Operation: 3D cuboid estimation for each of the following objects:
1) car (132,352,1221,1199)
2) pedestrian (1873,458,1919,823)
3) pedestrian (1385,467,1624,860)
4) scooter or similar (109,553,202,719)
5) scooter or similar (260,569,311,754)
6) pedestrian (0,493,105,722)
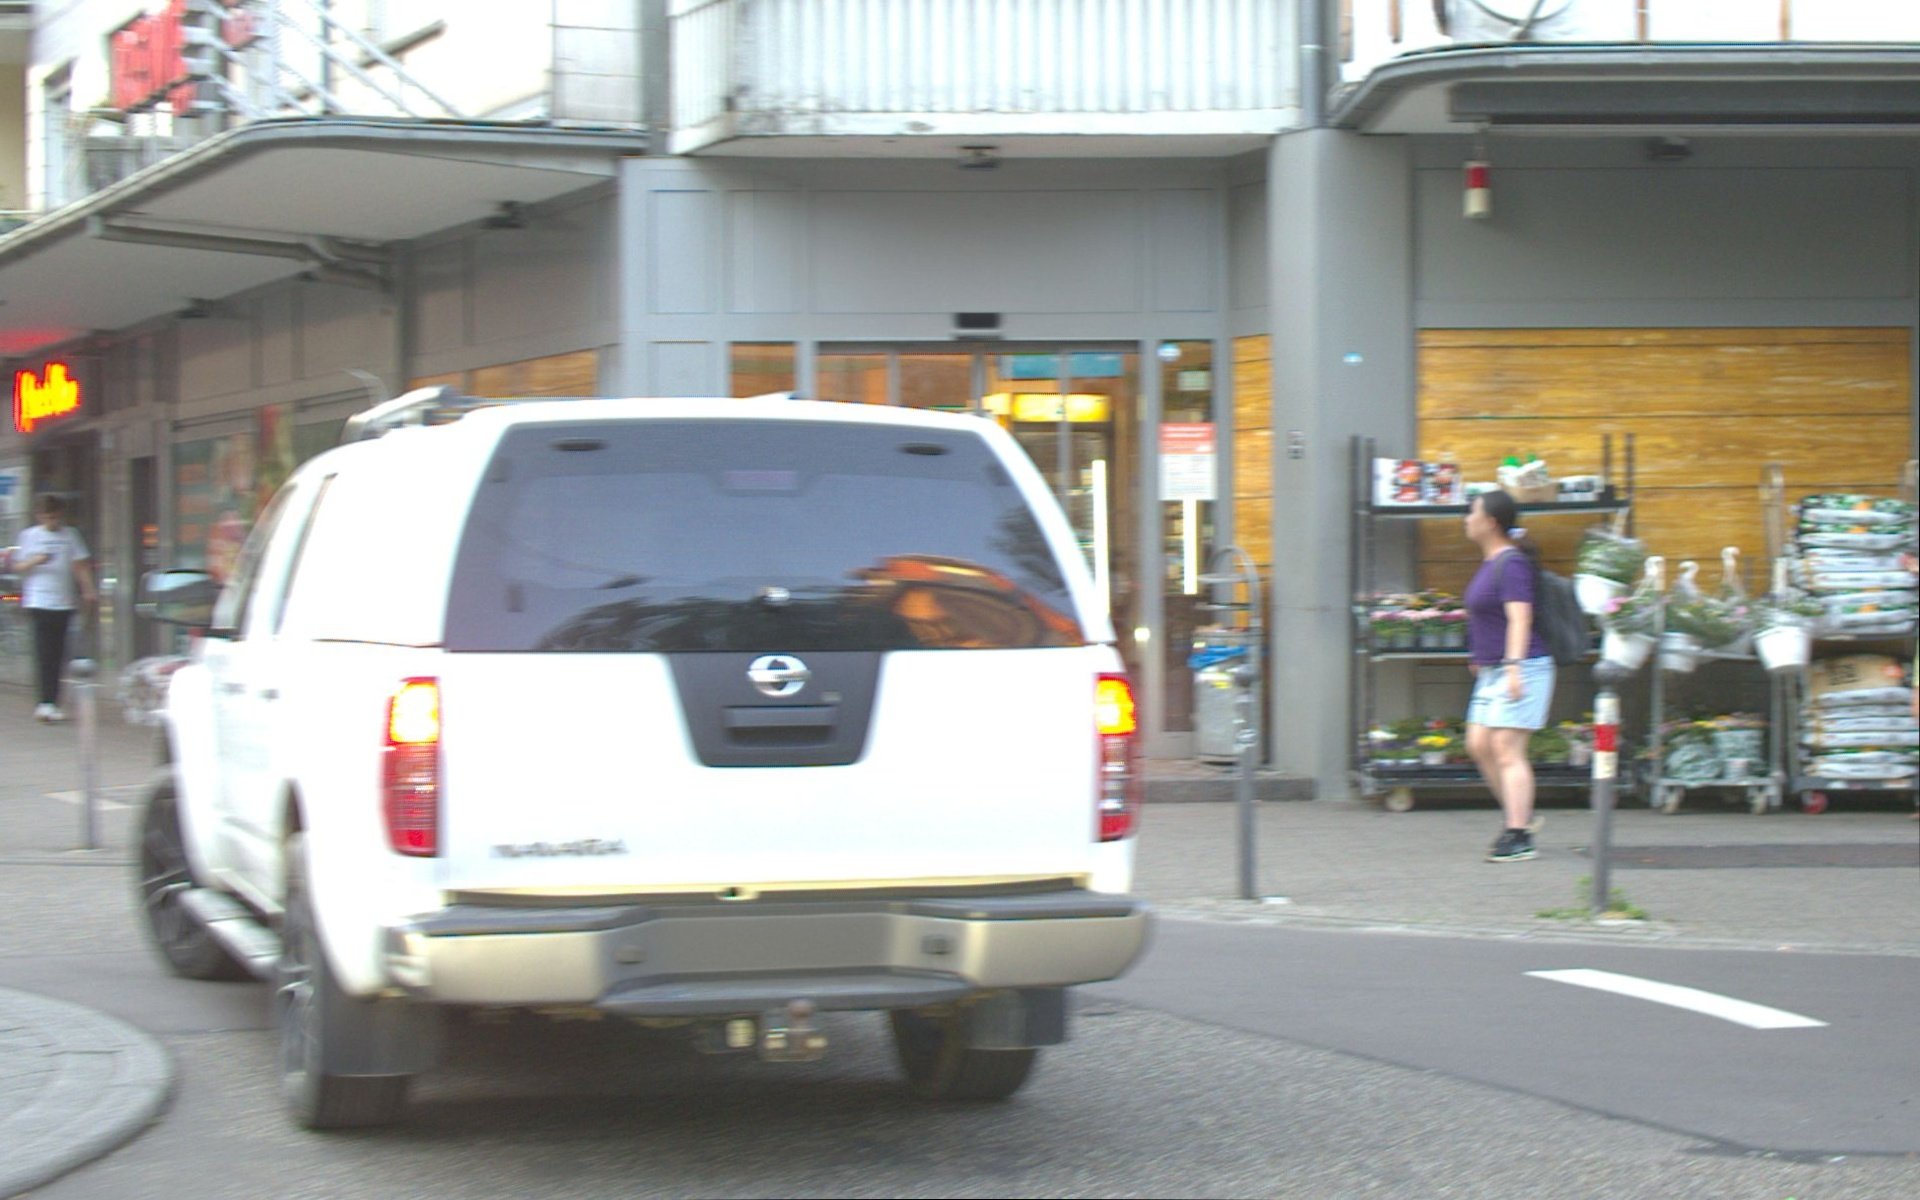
[{"bbox_3d":[-1.134,0.316,9.717,1.937,1.804,5.003,0,2,-18],"label":"car"},{"bbox_3d":[4.827,0.195,16.393,0.665,1.720,0.721,1,0,38],"label":"pedestrian"},{"bbox_3d":[2.361,0.266,14.908,0.716,1.646,0.713,1,0,-44],"label":"pedestrian"},{"bbox_3d":[-6.440,0.282,27.485,0.439,1.286,1.668,1,0,-23],"label":"scooter or similar"},{"bbox_3d":[-4.702,0.418,23.957,0.219,1.233,0.966,1,2,-18],"label":"scooter or similar"},{"bbox_3d":[-7.664,0.065,29.033,0.719,1.900,0.703,1,0,-25],"label":"pedestrian"}]
